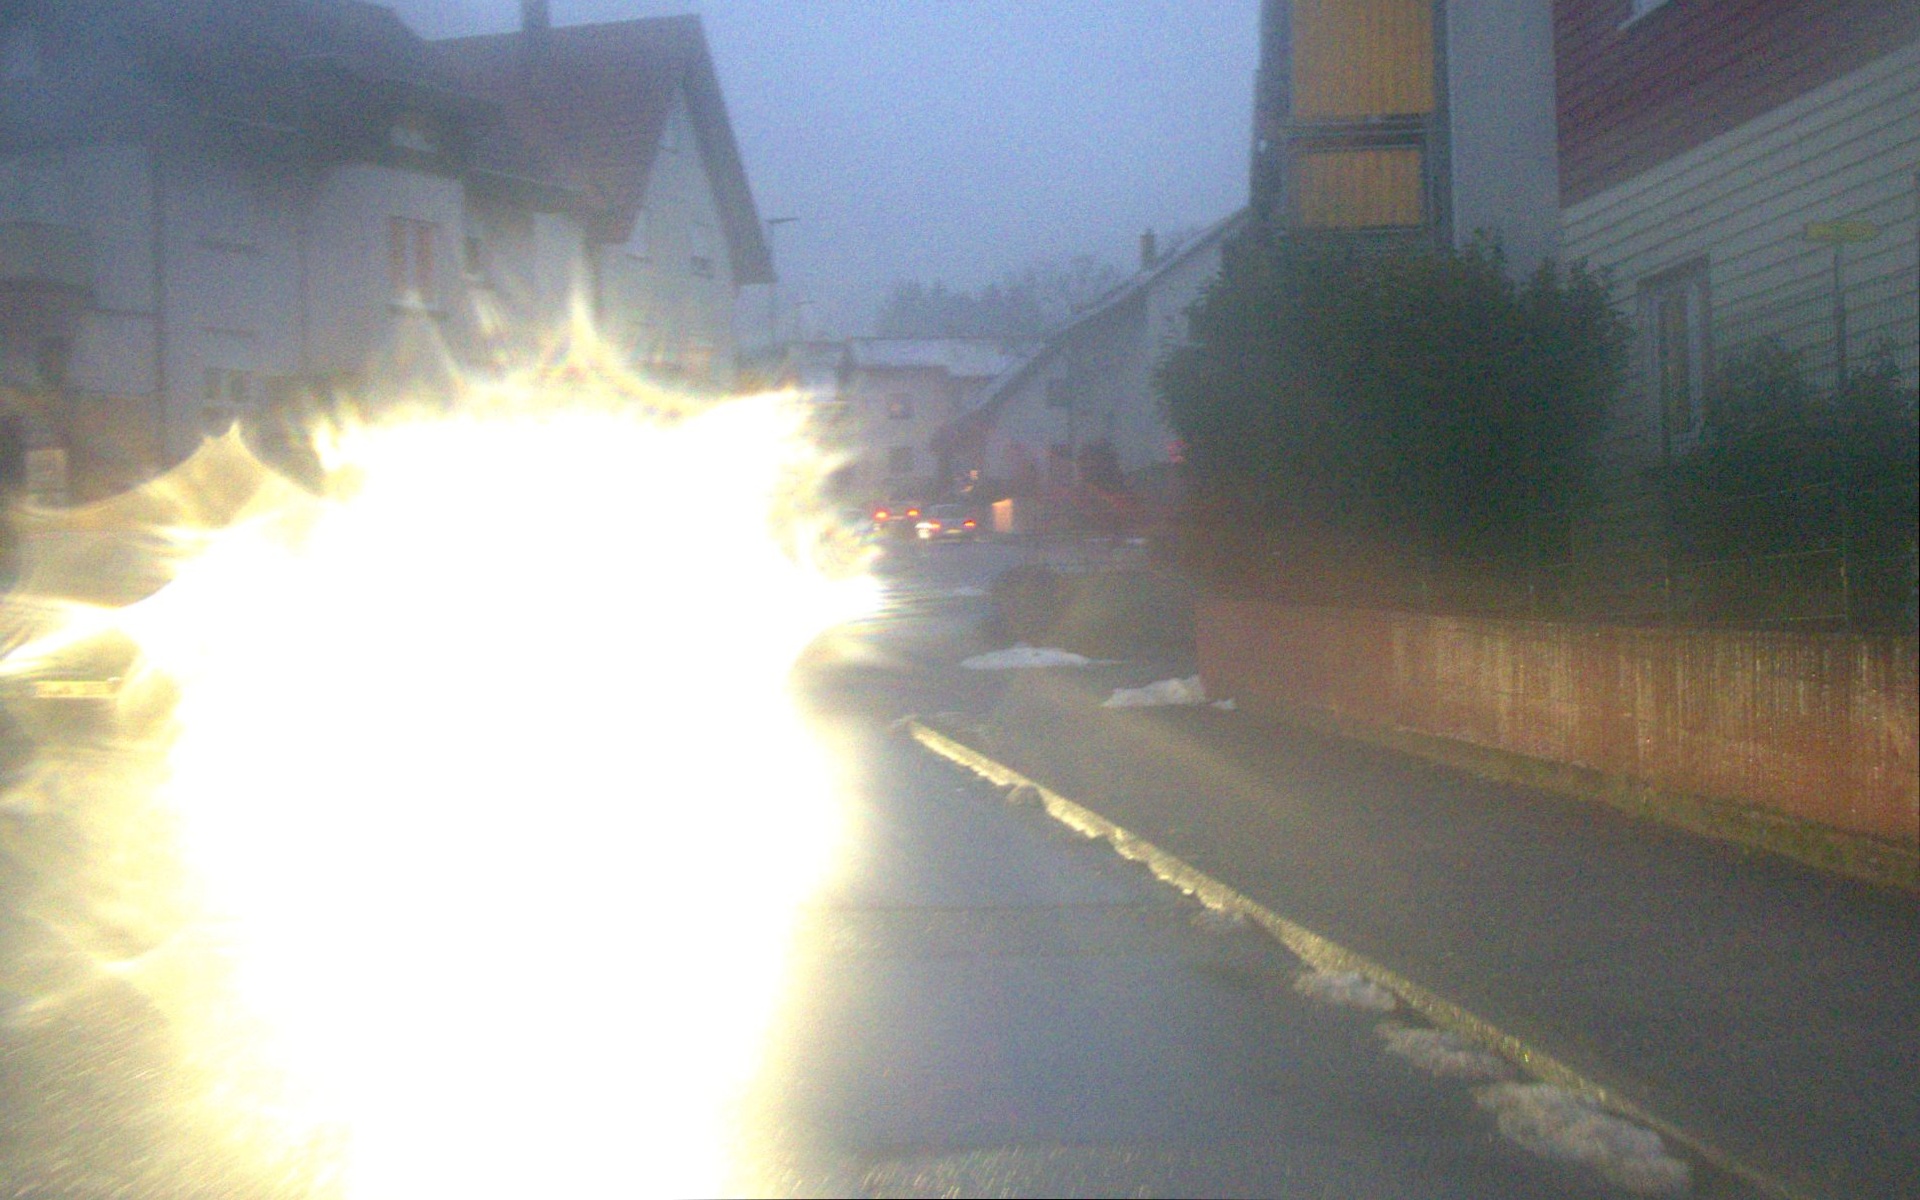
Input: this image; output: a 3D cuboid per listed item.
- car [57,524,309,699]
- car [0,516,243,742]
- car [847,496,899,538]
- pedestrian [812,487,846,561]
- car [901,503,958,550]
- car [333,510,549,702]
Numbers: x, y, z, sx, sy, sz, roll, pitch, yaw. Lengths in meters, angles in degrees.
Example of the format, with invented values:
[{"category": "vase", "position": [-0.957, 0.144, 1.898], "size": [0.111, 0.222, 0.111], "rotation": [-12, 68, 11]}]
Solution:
[{"category": "car", "position": [-6.644, 0.045, 29.762], "size": [1.748, 1.384, 4.147], "rotation": [0, 2, -7]}, {"category": "car", "position": [-6.102, 0.134, 24.013], "size": [1.823, 1.435, 4.069], "rotation": [0, 2, -7]}, {"category": "car", "position": [-3.563, -3.368, 140.039], "size": [1.993, 1.612, 4.000], "rotation": [1, 0, -3]}, {"category": "pedestrian", "position": [-3.103, -1.792, 81.356], "size": [0.598, 1.727, 0.811], "rotation": [0, 0, 13]}, {"category": "car", "position": [-1.098, -2.623, 123.200], "size": [1.993, 1.612, 4.000], "rotation": [1, 0, -1]}, {"category": "car", "position": [-4.529, 0.031, 30.263], "size": [1.757, 1.575, 4.001], "rotation": [0, 0, -8]}]
